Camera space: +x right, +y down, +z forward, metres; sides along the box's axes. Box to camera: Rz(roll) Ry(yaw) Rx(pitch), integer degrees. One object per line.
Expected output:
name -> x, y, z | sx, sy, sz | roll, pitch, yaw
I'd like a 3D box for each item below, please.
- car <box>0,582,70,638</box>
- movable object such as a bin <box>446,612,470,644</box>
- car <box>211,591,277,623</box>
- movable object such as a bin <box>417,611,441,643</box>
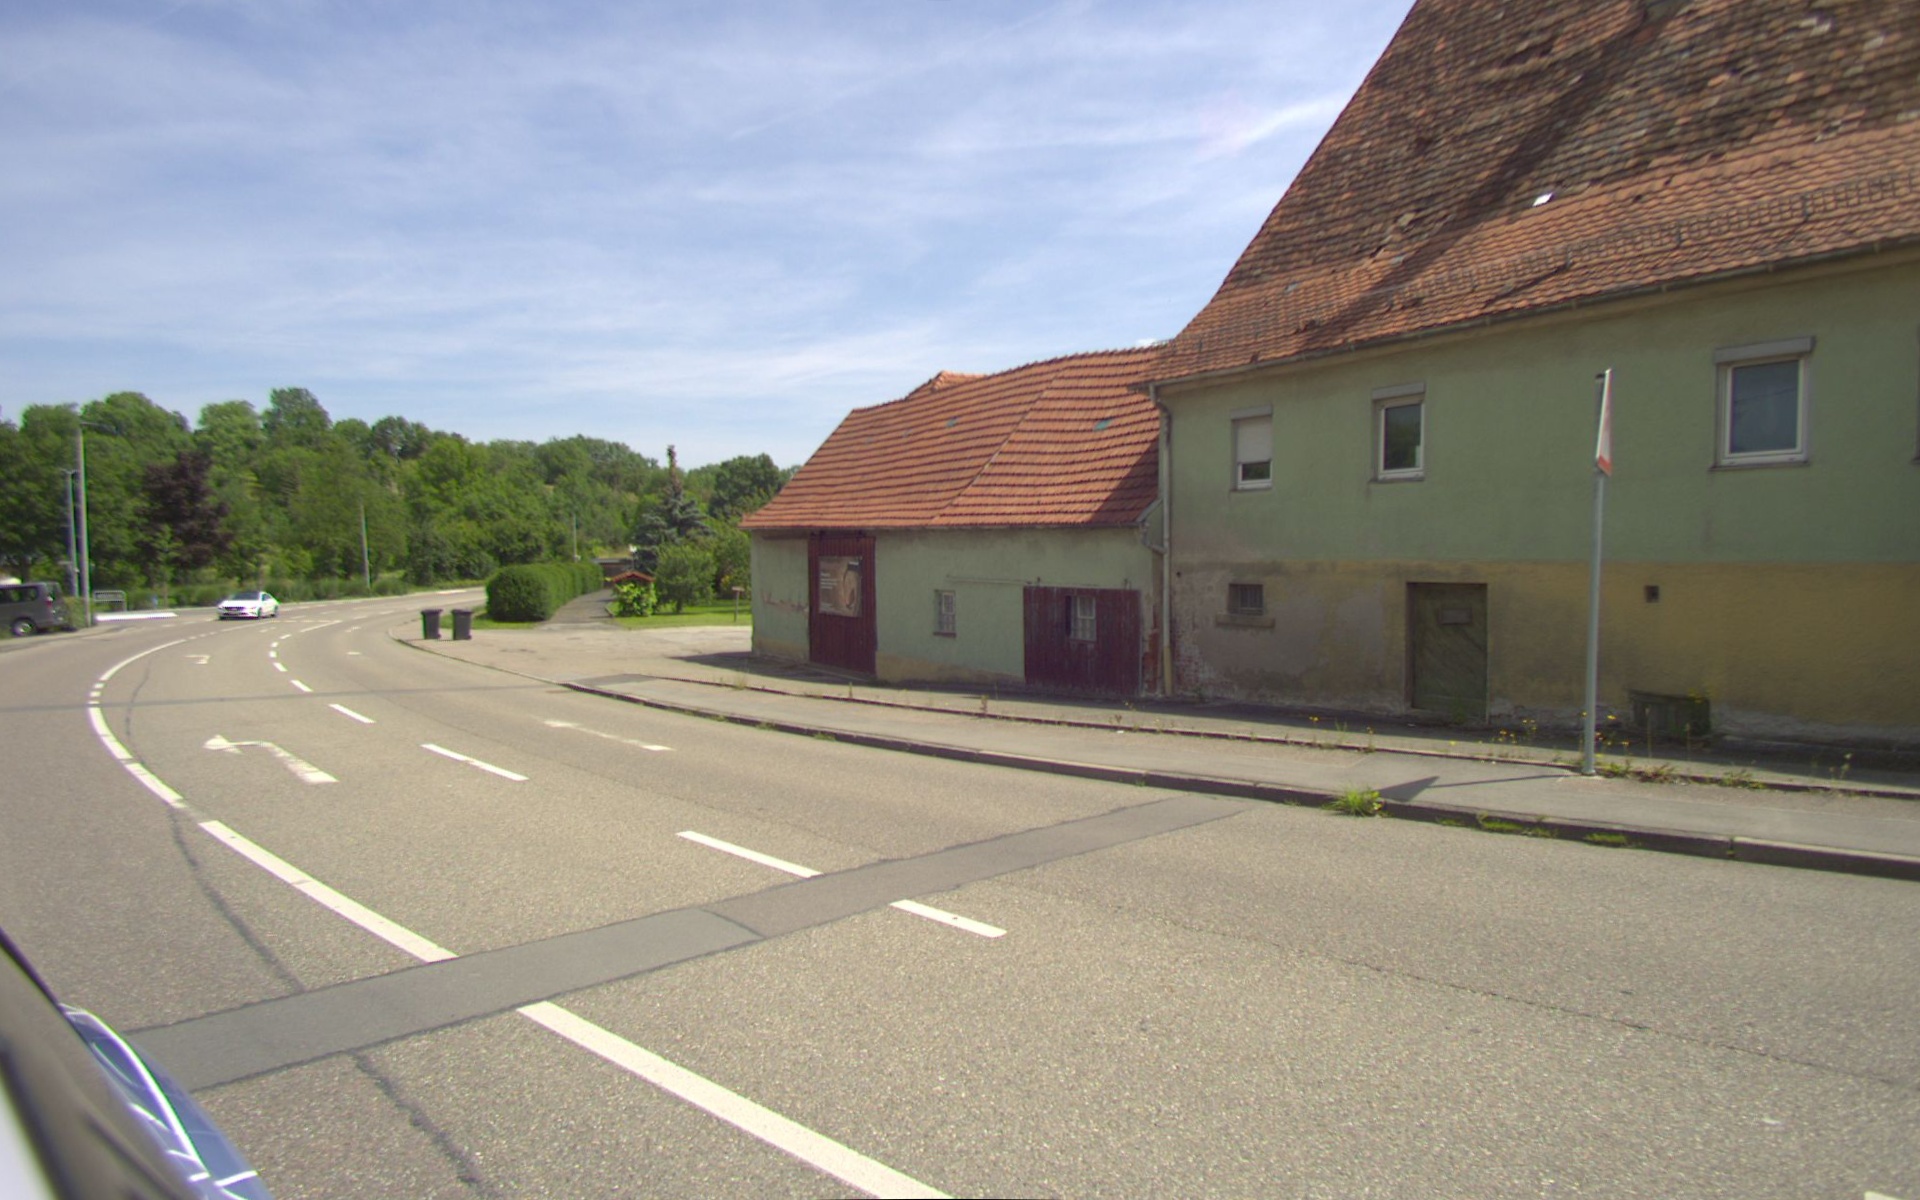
car -> -35.396, 0.403, 37.012 | 3.844, 1.964, 1.962 | -3, 1, -28
movable object such as a bin -> -17.450, 0.964, 35.178 | 0.540, 1.058, 0.528 | -1, 1, 36
car -> -37.695, 0.357, 53.381 | 1.796, 1.563, 4.013 | -2, 1, -20
movable object such as a bin -> -18.861, 0.956, 35.961 | 0.540, 1.089, 0.547 | -1, 1, 36
